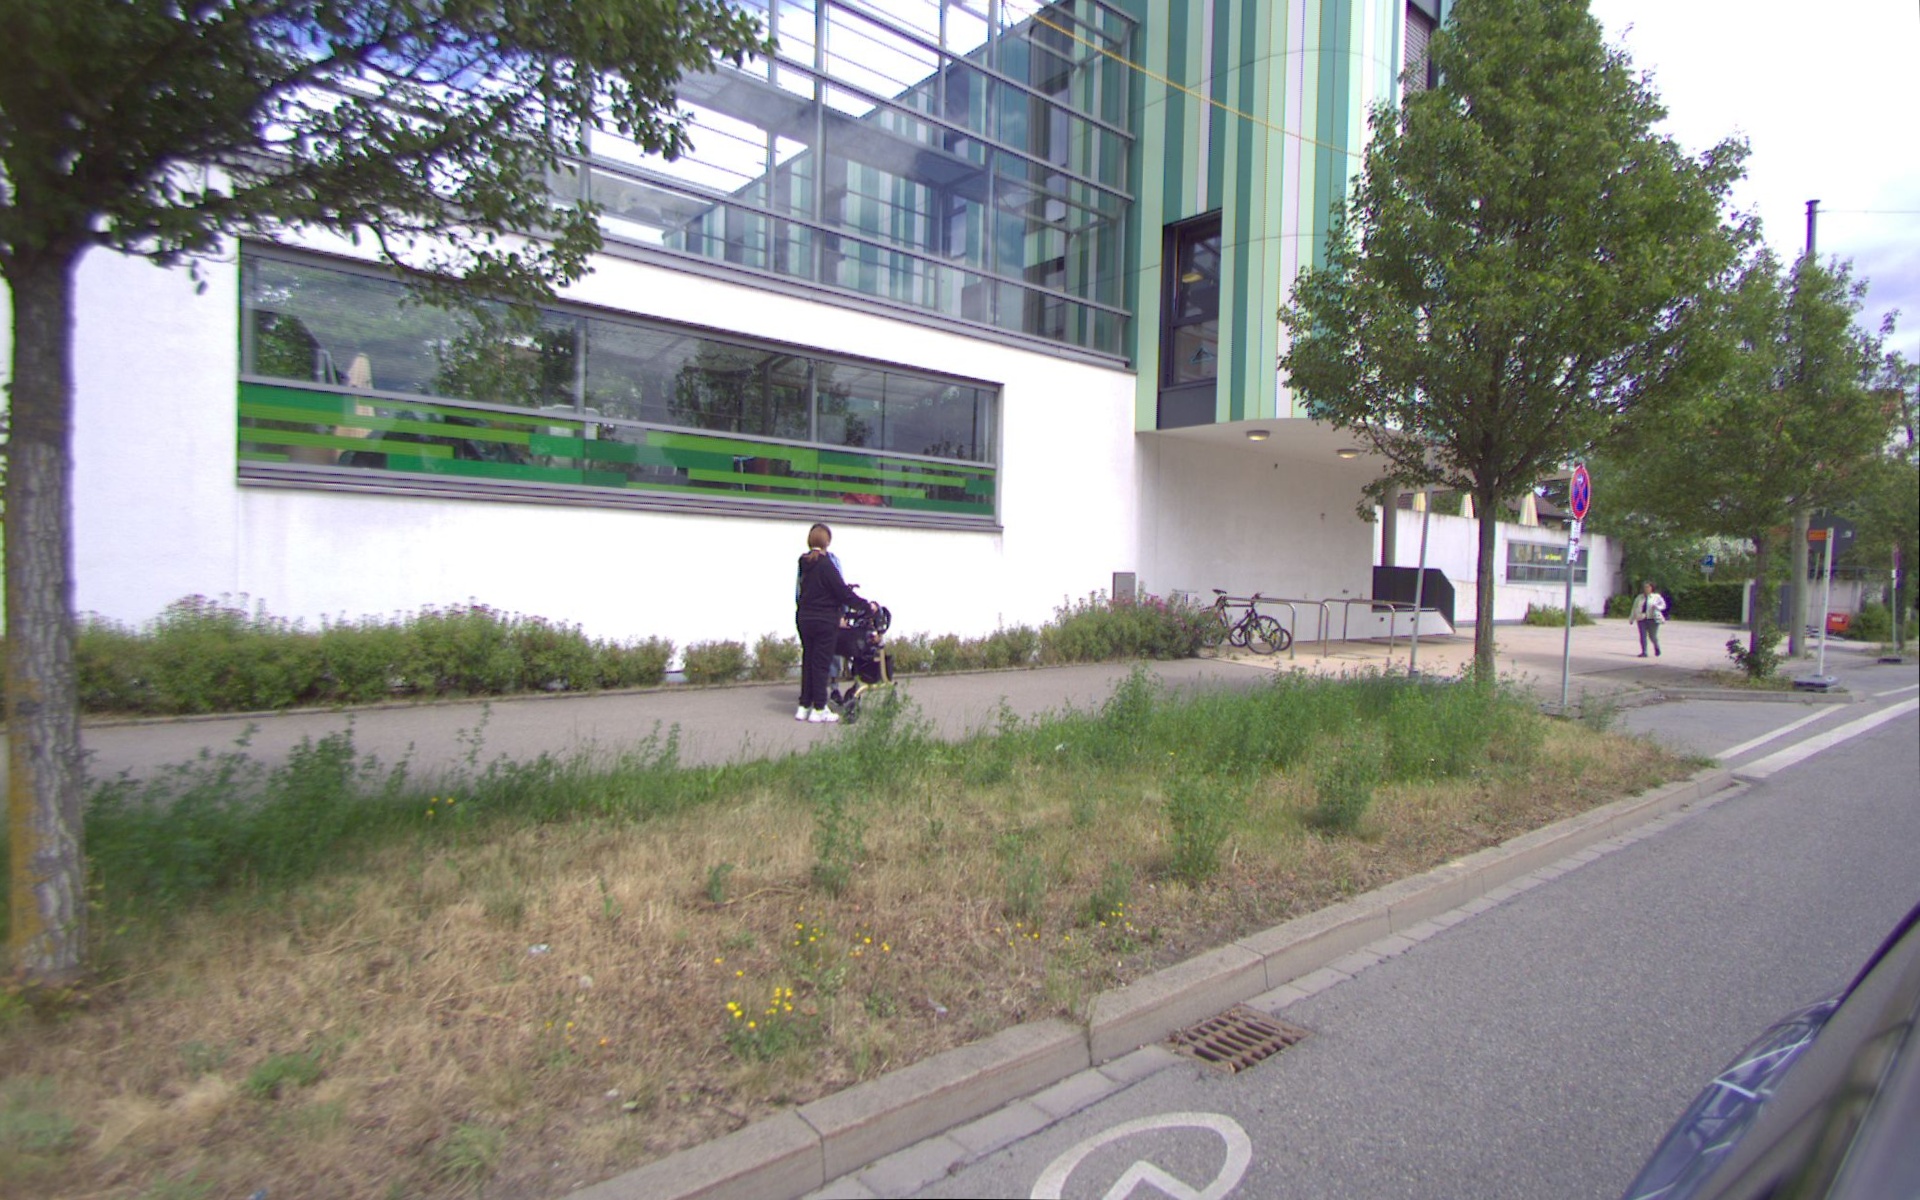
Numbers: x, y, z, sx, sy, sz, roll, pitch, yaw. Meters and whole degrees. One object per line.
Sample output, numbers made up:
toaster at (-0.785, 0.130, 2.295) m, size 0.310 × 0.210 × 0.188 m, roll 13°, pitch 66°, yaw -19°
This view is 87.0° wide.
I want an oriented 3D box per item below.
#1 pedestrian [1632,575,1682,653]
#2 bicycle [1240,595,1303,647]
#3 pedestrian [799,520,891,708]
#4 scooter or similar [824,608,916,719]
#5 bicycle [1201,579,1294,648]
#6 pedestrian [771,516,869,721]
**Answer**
pedestrian at (14.430, 0.276, 20.939) m, size 0.853 × 1.570 × 0.582 m, roll 0°, pitch 3°, yaw -41°
bicycle at (5.485, 0.359, 17.828) m, size 1.011 × 0.852 × 0.305 m, roll 3°, pitch 2°, yaw 18°
pedestrian at (-1.073, 0.111, 9.428) m, size 0.596 × 1.675 × 0.551 m, roll 1°, pitch 2°, yaw -41°
scooter or similar at (-0.794, 0.543, 8.965) m, size 0.670 × 0.916 × 0.422 m, roll 0°, pitch 2°, yaw -41°
bicycle at (4.809, 0.208, 16.984) m, size 1.462 × 1.058 × 0.303 m, roll 4°, pitch 3°, yaw 38°
pedestrian at (-1.205, 0.134, 8.668) m, size 0.542 × 1.675 × 0.606 m, roll 1°, pitch 2°, yaw -40°
